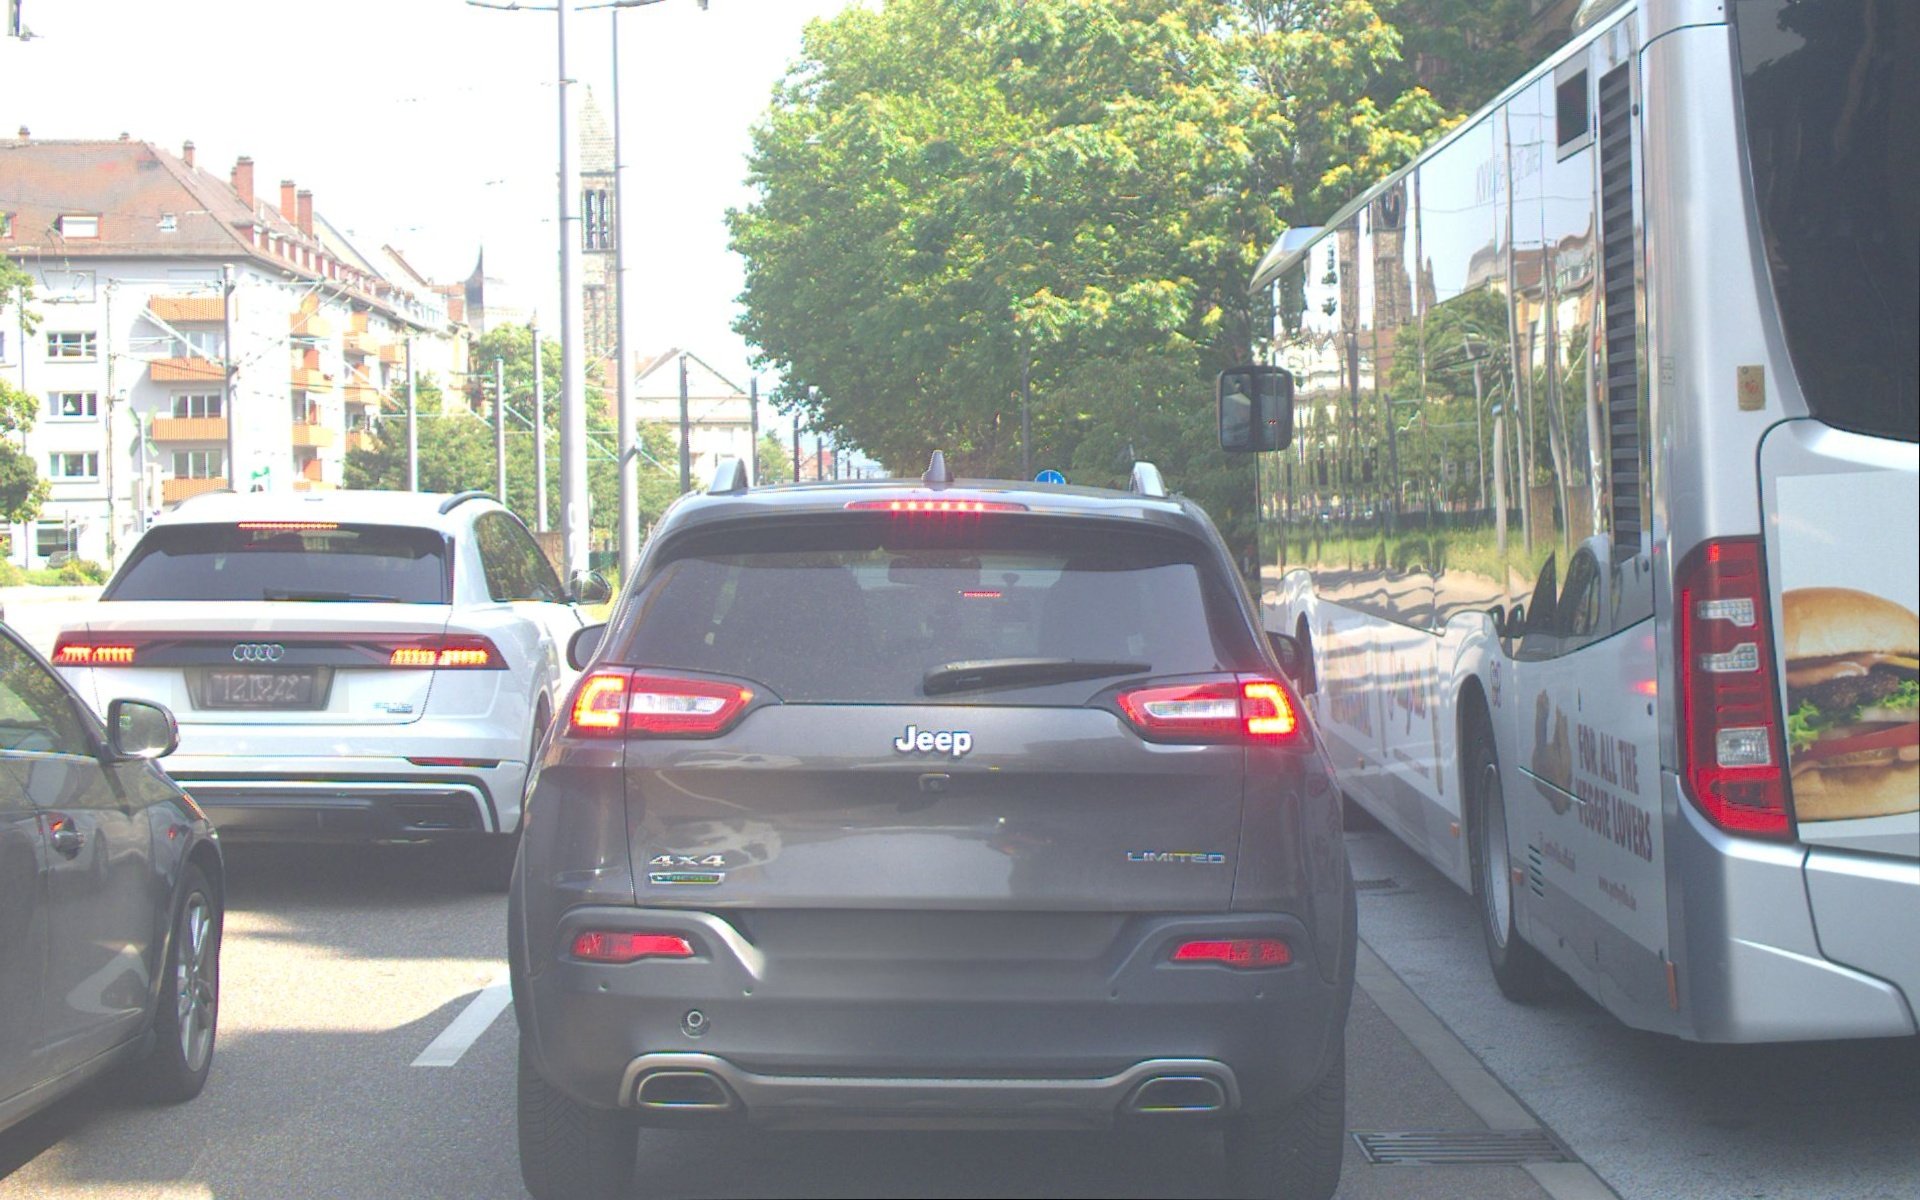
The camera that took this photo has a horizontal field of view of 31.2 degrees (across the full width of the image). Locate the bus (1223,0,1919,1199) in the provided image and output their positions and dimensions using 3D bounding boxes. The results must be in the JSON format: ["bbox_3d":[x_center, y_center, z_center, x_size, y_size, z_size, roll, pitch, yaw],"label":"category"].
[{"bbox_3d":[2.876,-0.413,13.414,2.743,3.096,11.956,-3,1,1],"label":"bus"}]

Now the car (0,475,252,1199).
[{"bbox_3d":[-2.837,0.534,7.484,1.747,1.609,4.309,0,1,-1],"label":"car"}]

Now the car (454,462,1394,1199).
[{"bbox_3d":[-0.059,0.514,8.905,1.832,1.646,4.308,0,1,0],"label":"car"}]

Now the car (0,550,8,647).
[{"bbox_3d":[-15.596,-0.012,52.521,1.746,1.430,4.574,-3,2,-18],"label":"car"}]

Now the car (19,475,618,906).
[{"bbox_3d":[-2.665,0.295,15.293,1.902,1.646,4.309,0,1,-1],"label":"car"}]
